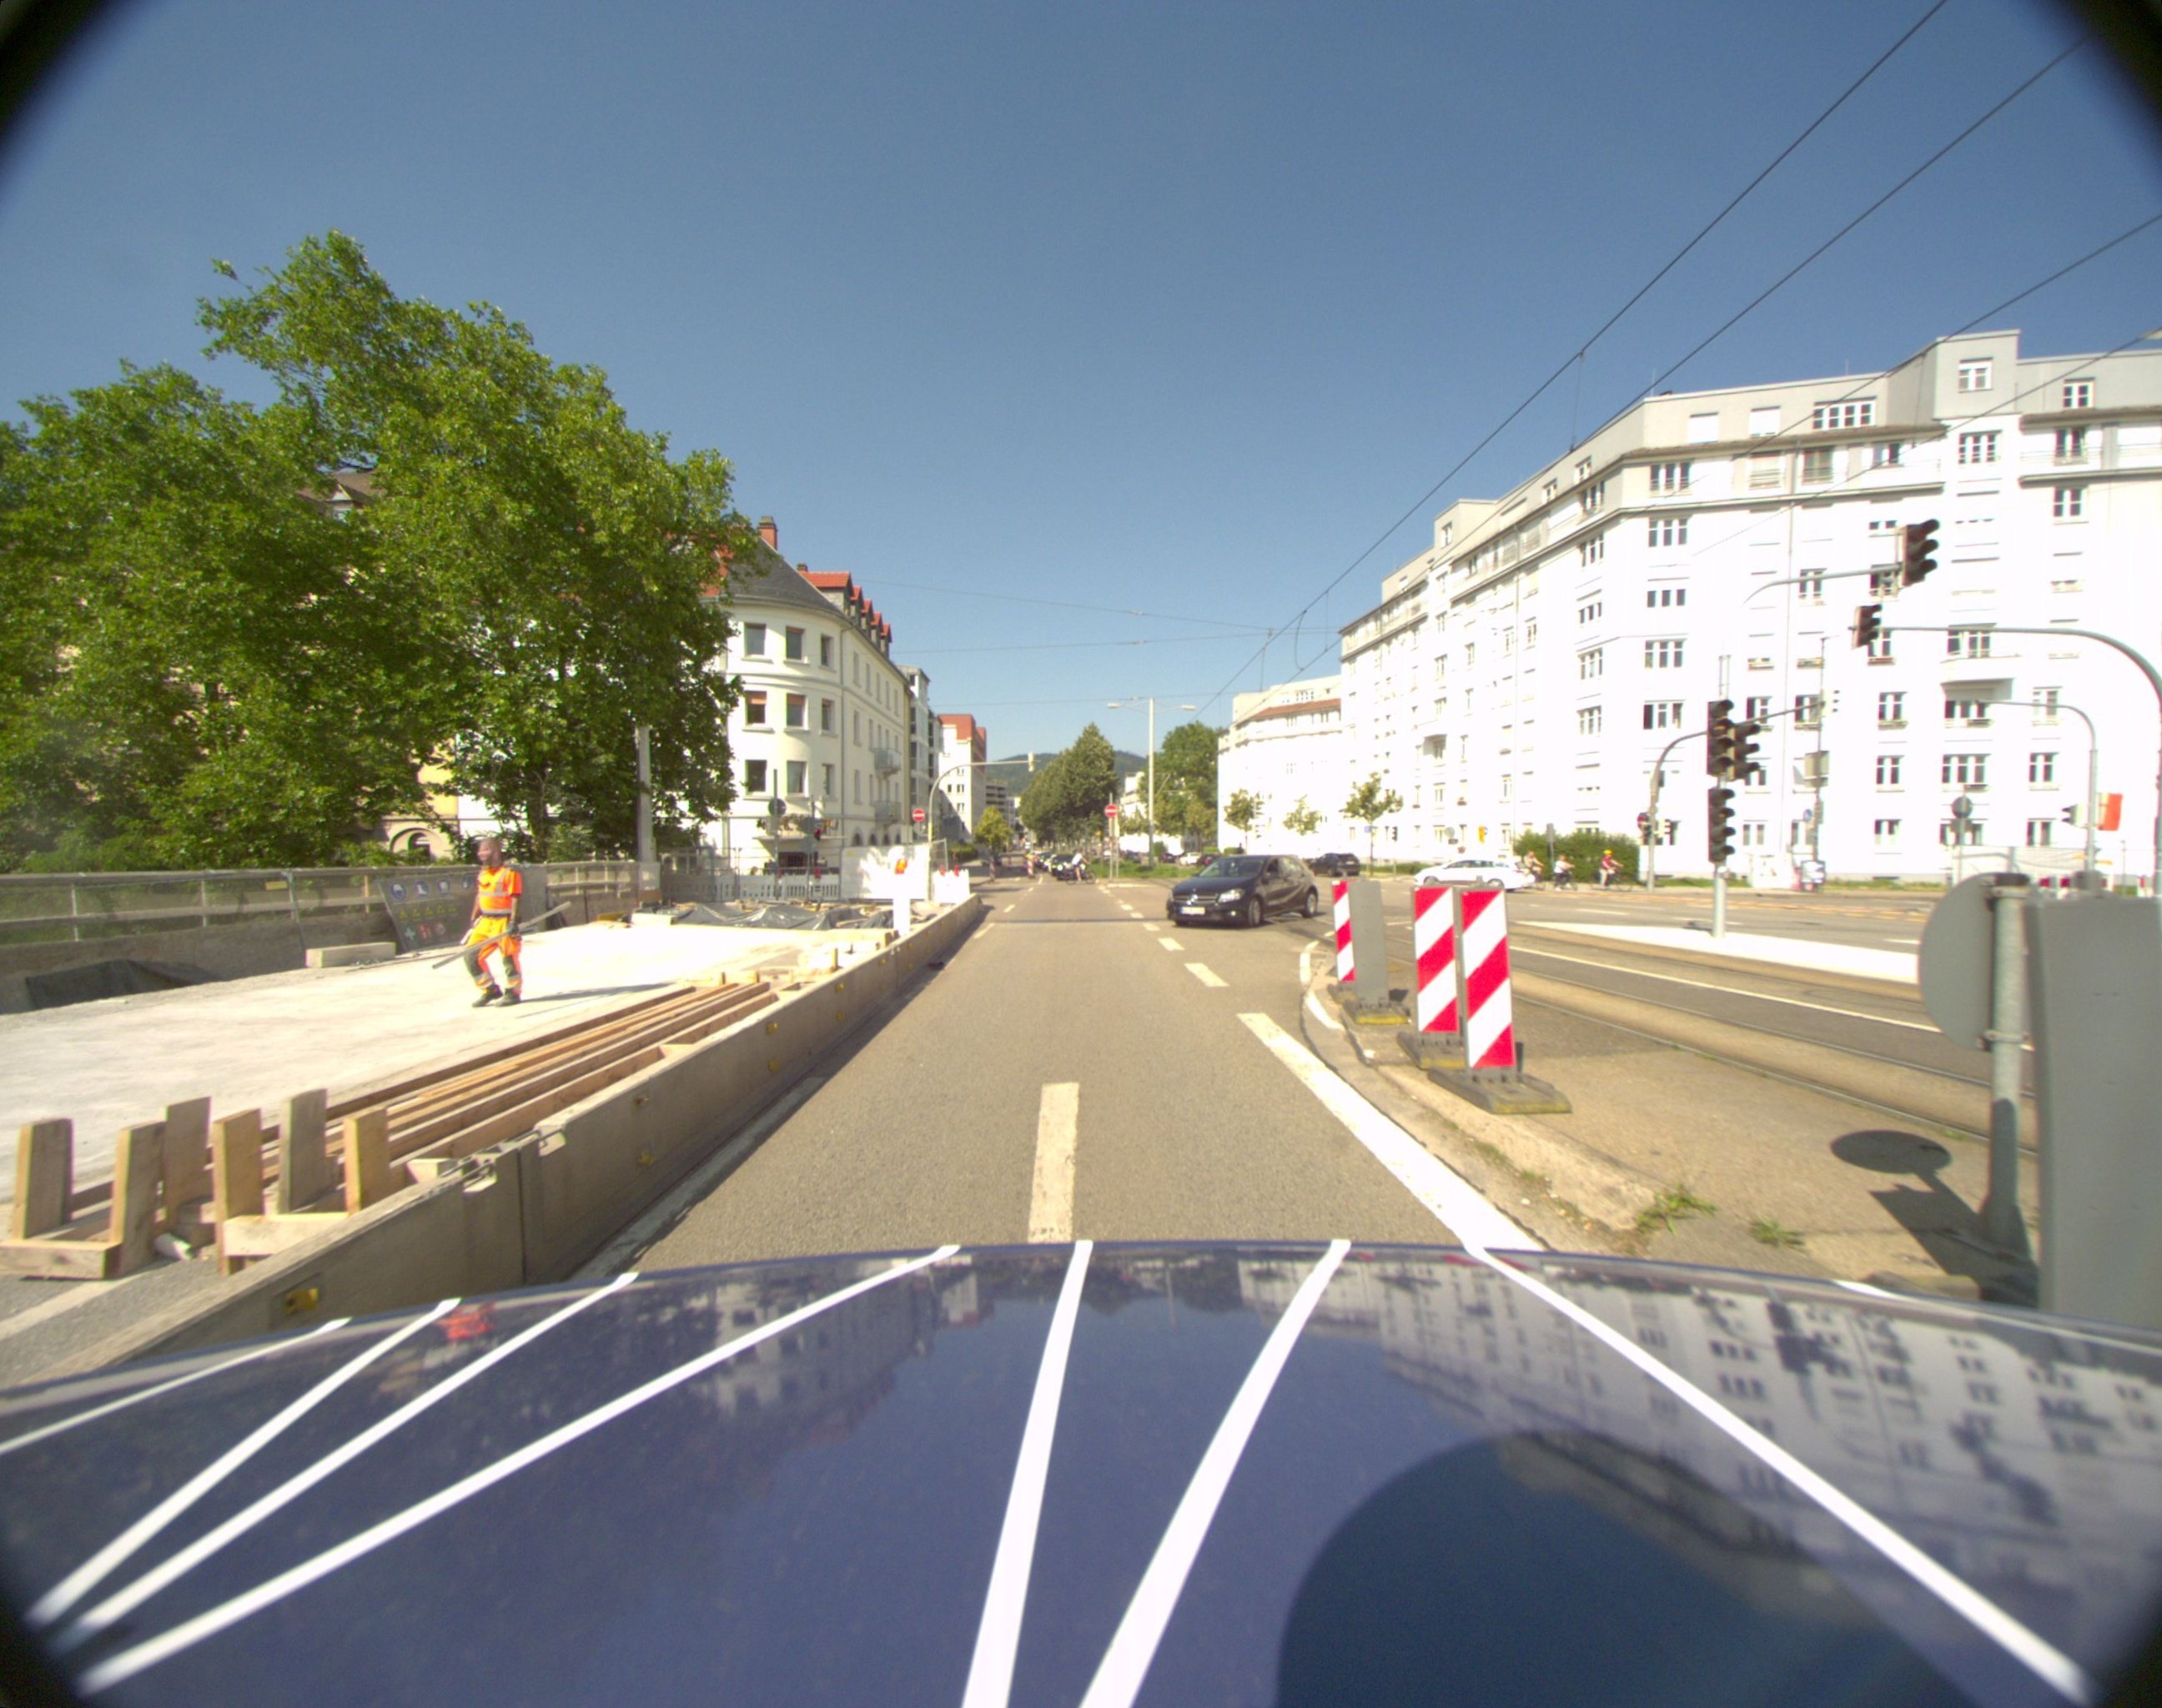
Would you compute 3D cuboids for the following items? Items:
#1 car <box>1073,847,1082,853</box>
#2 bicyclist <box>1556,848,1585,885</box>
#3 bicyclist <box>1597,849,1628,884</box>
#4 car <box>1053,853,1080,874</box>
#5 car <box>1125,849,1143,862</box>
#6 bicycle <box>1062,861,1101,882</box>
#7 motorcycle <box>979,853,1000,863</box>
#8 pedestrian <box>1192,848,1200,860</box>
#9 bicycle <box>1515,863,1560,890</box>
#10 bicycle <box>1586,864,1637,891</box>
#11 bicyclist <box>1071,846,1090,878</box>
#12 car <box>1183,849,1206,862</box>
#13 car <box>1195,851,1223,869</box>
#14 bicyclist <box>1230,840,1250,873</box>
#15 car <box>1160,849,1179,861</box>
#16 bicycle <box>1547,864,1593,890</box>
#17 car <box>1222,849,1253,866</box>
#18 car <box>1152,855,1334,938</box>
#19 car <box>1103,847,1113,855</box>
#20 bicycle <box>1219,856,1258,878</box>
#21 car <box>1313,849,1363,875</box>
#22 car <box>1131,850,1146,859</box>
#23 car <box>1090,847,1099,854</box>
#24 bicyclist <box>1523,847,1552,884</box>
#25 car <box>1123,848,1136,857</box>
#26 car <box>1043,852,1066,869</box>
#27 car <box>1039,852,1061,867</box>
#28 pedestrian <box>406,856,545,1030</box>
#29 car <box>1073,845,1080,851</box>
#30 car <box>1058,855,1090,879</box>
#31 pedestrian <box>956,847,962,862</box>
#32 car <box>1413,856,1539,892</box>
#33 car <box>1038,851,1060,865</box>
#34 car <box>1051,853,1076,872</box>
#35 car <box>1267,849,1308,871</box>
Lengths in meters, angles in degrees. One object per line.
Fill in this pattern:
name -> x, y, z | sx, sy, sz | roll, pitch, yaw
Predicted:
car -> -0.885, -0.948, 179.074 | 1.798, 1.476, 3.738 | -1, 1, -3
bicyclist -> 21.483, 0.526, 33.360 | 0.624, 1.570, 0.916 | -2, 1, -14
bicyclist -> 22.650, 0.516, 32.375 | 0.598, 1.469, 0.916 | -1, 1, -16
car -> -0.981, 0.612, 52.064 | 1.767, 1.346, 3.999 | -1, 0, -1
car -> 6.544, 0.173, 93.658 | 1.696, 1.547, 3.654 | 0, 1, -4
bicycle -> 0.023, 0.855, 37.536 | 1.820, 0.985, 0.709 | -1, 1, -12
motorcycle -> -10.221, 0.425, 85.015 | 2.177, 1.159, 0.744 | 0, 1, 1
pedestrian -> 15.597, 0.041, 103.148 | 0.858, 1.656, 0.910 | 0, 1, 0
bicycle -> 20.456, 0.984, 34.072 | 0.619, 1.093, 1.783 | -1, 2, -14
bicycle -> 22.631, 0.991, 32.467 | 0.605, 1.093, 1.812 | -1, 1, -16
bicyclist -> -0.016, 0.399, 37.484 | 0.785, 1.541, 0.709 | -1, 2, -13
car -> 12.867, 0.158, 86.167 | 1.740, 1.476, 3.738 | -1, 1, -5
car -> 11.275, 0.508, 67.060 | 1.594, 1.484, 3.660 | 1, 1, -4
bicyclist -> 8.084, 0.116, 38.656 | 1.008, 1.644, 0.810 | -1, 0, 11
car -> 11.526, 0.099, 99.209 | 1.740, 1.476, 3.738 | -1, 1, -5
bicycle -> 21.481, 0.995, 33.410 | 0.628, 1.093, 1.784 | -2, 1, -14
car -> 14.560, 0.311, 70.868 | 1.740, 1.476, 3.738 | -1, 1, -5
car -> 3.556, 0.765, 16.018 | 1.699, 1.400, 4.632 | 1, 2, 41
car -> 5.681, -0.633, 158.538 | 1.739, 1.476, 3.738 | 1, 1, -3
bicycle -> 8.003, 0.653, 38.678 | 1.909, 1.014, 0.822 | -2, -1, 11
car -> 16.751, 0.501, 49.699 | 1.740, 1.628, 3.738 | -1, 1, -5
car -> 9.267, 0.080, 122.646 | 1.740, 1.476, 3.738 | -1, 1, -5
car -> 3.034, -0.744, 168.104 | 1.798, 1.476, 3.738 | -1, 1, -3
bicyclist -> 20.455, 0.503, 34.051 | 0.624, 1.581, 0.916 | -1, 2, -14
car -> 8.348, -0.254, 130.832 | 1.740, 1.476, 3.738 | -1, 1, -5
car -> -2.268, 0.553, 64.341 | 1.767, 1.346, 3.998 | -1, 0, -4
car -> -2.952, 0.463, 71.494 | 1.768, 1.346, 3.997 | -1, 0, -6
pedestrian -> -6.587, 0.933, 8.315 | 0.821, 1.784, 0.863 | 1, 1, -1
car -> -1.431, -1.688, 218.379 | 1.798, 1.672, 3.738 | -1, 1, -3
car -> -0.394, 0.734, 44.807 | 1.767, 1.313, 4.000 | -1, 0, 1
pedestrian -> -14.002, 0.087, 87.314 | 0.599, 1.753, 0.751 | 0, 1, -7
car -> 16.775, 0.816, 32.459 | 1.706, 1.404, 4.473 | -1, 1, -45
car -> -3.335, 0.417, 78.773 | 1.768, 1.346, 3.997 | -1, 0, -8
car -> -1.358, 0.633, 57.934 | 1.767, 1.346, 3.999 | -1, 0, -2
car -> 15.777, 0.443, 58.205 | 1.740, 1.628, 3.737 | -1, 1, -7
